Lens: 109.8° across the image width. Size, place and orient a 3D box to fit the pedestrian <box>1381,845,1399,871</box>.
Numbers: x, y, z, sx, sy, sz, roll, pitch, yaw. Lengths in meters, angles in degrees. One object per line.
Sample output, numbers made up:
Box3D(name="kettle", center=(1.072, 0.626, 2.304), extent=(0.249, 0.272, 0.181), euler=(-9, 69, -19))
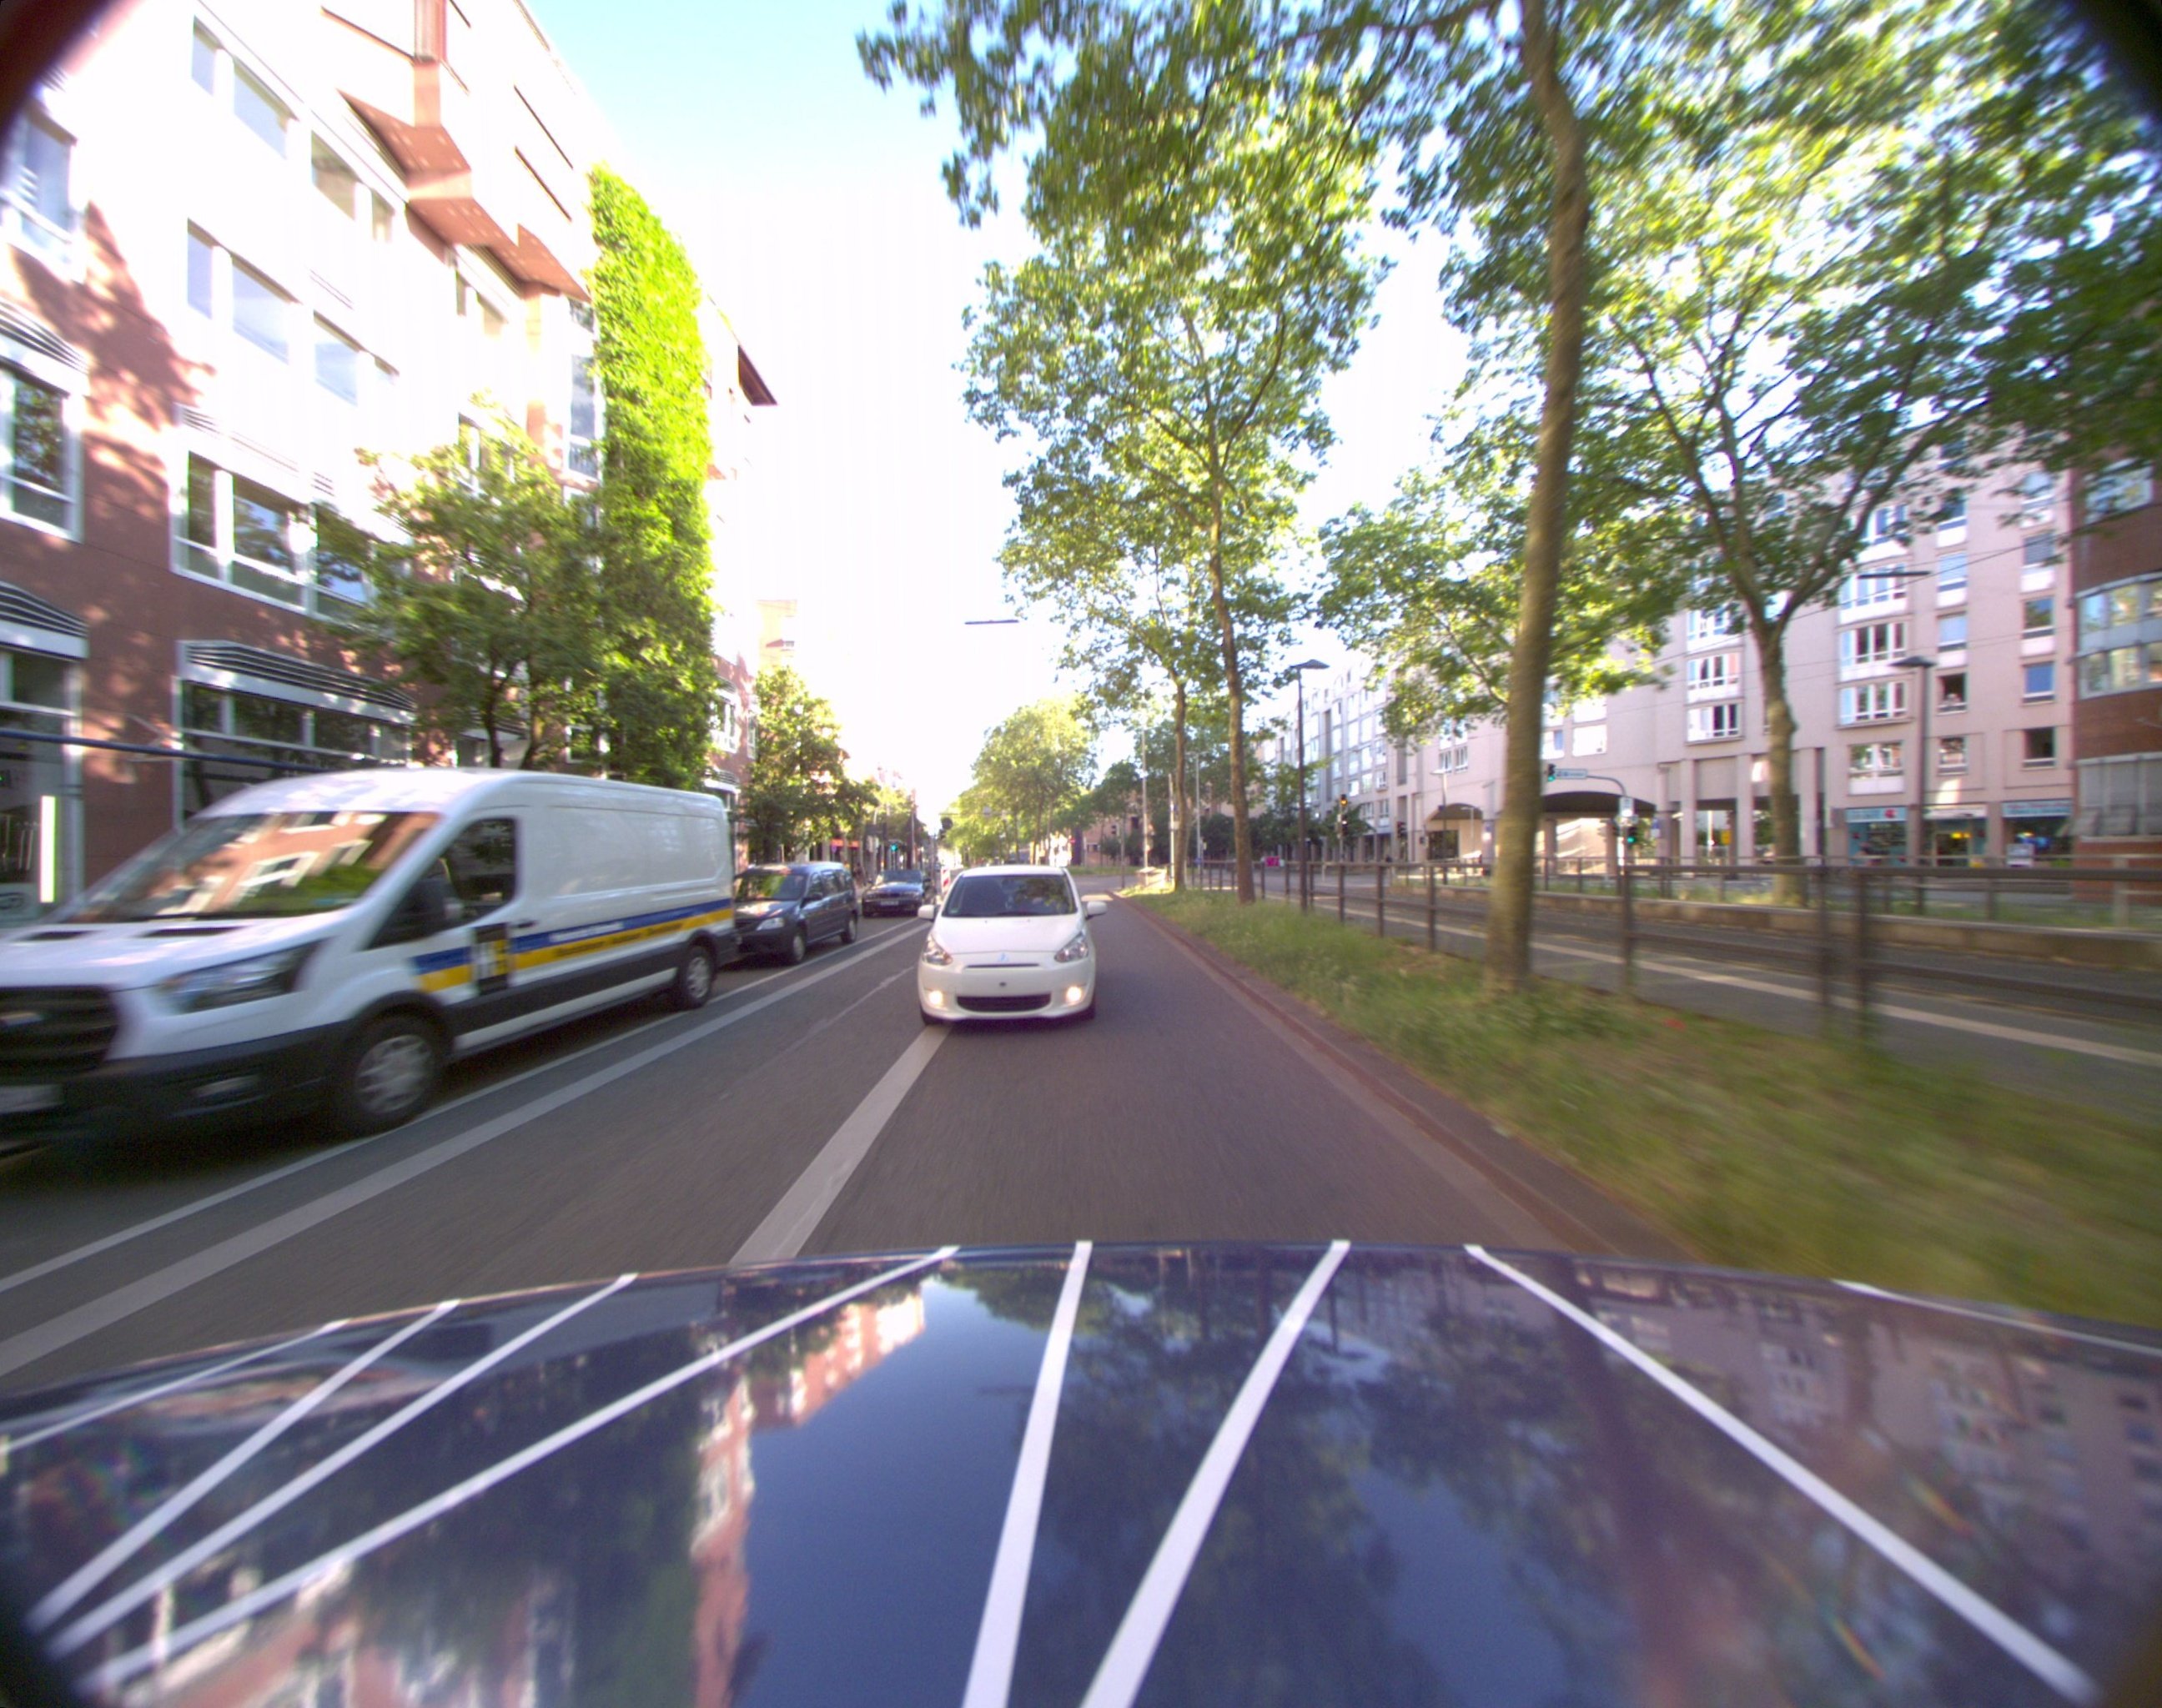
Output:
Box3D(name="pedestrian", center=(24.780, 0.291, 60.931), extent=(1.006, 2.002, 0.876), euler=(-2, 1, 4))

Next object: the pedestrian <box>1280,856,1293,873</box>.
Box3D(name="pedestrian", center=(20.083, 1.031, 74.174), extent=(1.006, 1.592, 0.876), euler=(-2, 1, 5))

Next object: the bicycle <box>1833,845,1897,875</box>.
Box3D(name="bicycle", center=(34.269, 0.277, 33.251), extent=(0.775, 1.254, 1.814), euler=(-3, 1, -32))

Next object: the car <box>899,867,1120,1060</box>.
Box3D(name="car", center=(-0.733, 0.938, 8.423), extent=(1.809, 1.492, 4.199), euler=(-1, 0, -4))

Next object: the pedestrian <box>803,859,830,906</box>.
Box3D(name="pedestrian", center=(-9.127, 0.980, 26.229), extent=(0.641, 1.599, 0.720), euler=(-1, 1, -1))

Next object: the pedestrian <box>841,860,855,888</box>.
Box3D(name="pedestrian", center=(-13.554, 1.142, 44.240), extent=(0.680, 1.607, 0.556), euler=(-1, 1, -10))

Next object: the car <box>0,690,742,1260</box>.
Box3D(name="car", center=(-5.216, 0.553, 6.346), extent=(2.120, 2.550, 5.904), euler=(-1, 0, -1))

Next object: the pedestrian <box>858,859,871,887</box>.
Box3D(name="pedestrian", center=(-12.591, 1.106, 44.188), extent=(0.680, 1.607, 0.556), euler=(-1, 1, -10))

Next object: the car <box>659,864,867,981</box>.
Box3D(name="car", center=(-5.237, 1.019, 13.244), extent=(1.808, 1.617, 4.475), euler=(-1, 0, -1))

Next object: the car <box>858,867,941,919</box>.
Box3D(name="car", center=(-5.357, 1.112, 22.900), extent=(1.809, 1.323, 3.990), euler=(-1, 0, -4))

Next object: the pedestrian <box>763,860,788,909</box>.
Box3D(name="pedestrian", center=(-10.103, 1.011, 25.145), extent=(0.563, 1.599, 0.599), euler=(-1, 1, -1))

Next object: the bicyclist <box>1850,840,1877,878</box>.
Box3D(name="bicyclist", center=(34.251, 0.222, 33.272), extent=(0.720, 1.639, 0.667), euler=(-3, 1, -31))

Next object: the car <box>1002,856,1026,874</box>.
Box3D(name="car", center=(-6.579, 1.067, 74.771), extent=(1.999, 1.524, 3.999), euler=(-2, 1, -1))
